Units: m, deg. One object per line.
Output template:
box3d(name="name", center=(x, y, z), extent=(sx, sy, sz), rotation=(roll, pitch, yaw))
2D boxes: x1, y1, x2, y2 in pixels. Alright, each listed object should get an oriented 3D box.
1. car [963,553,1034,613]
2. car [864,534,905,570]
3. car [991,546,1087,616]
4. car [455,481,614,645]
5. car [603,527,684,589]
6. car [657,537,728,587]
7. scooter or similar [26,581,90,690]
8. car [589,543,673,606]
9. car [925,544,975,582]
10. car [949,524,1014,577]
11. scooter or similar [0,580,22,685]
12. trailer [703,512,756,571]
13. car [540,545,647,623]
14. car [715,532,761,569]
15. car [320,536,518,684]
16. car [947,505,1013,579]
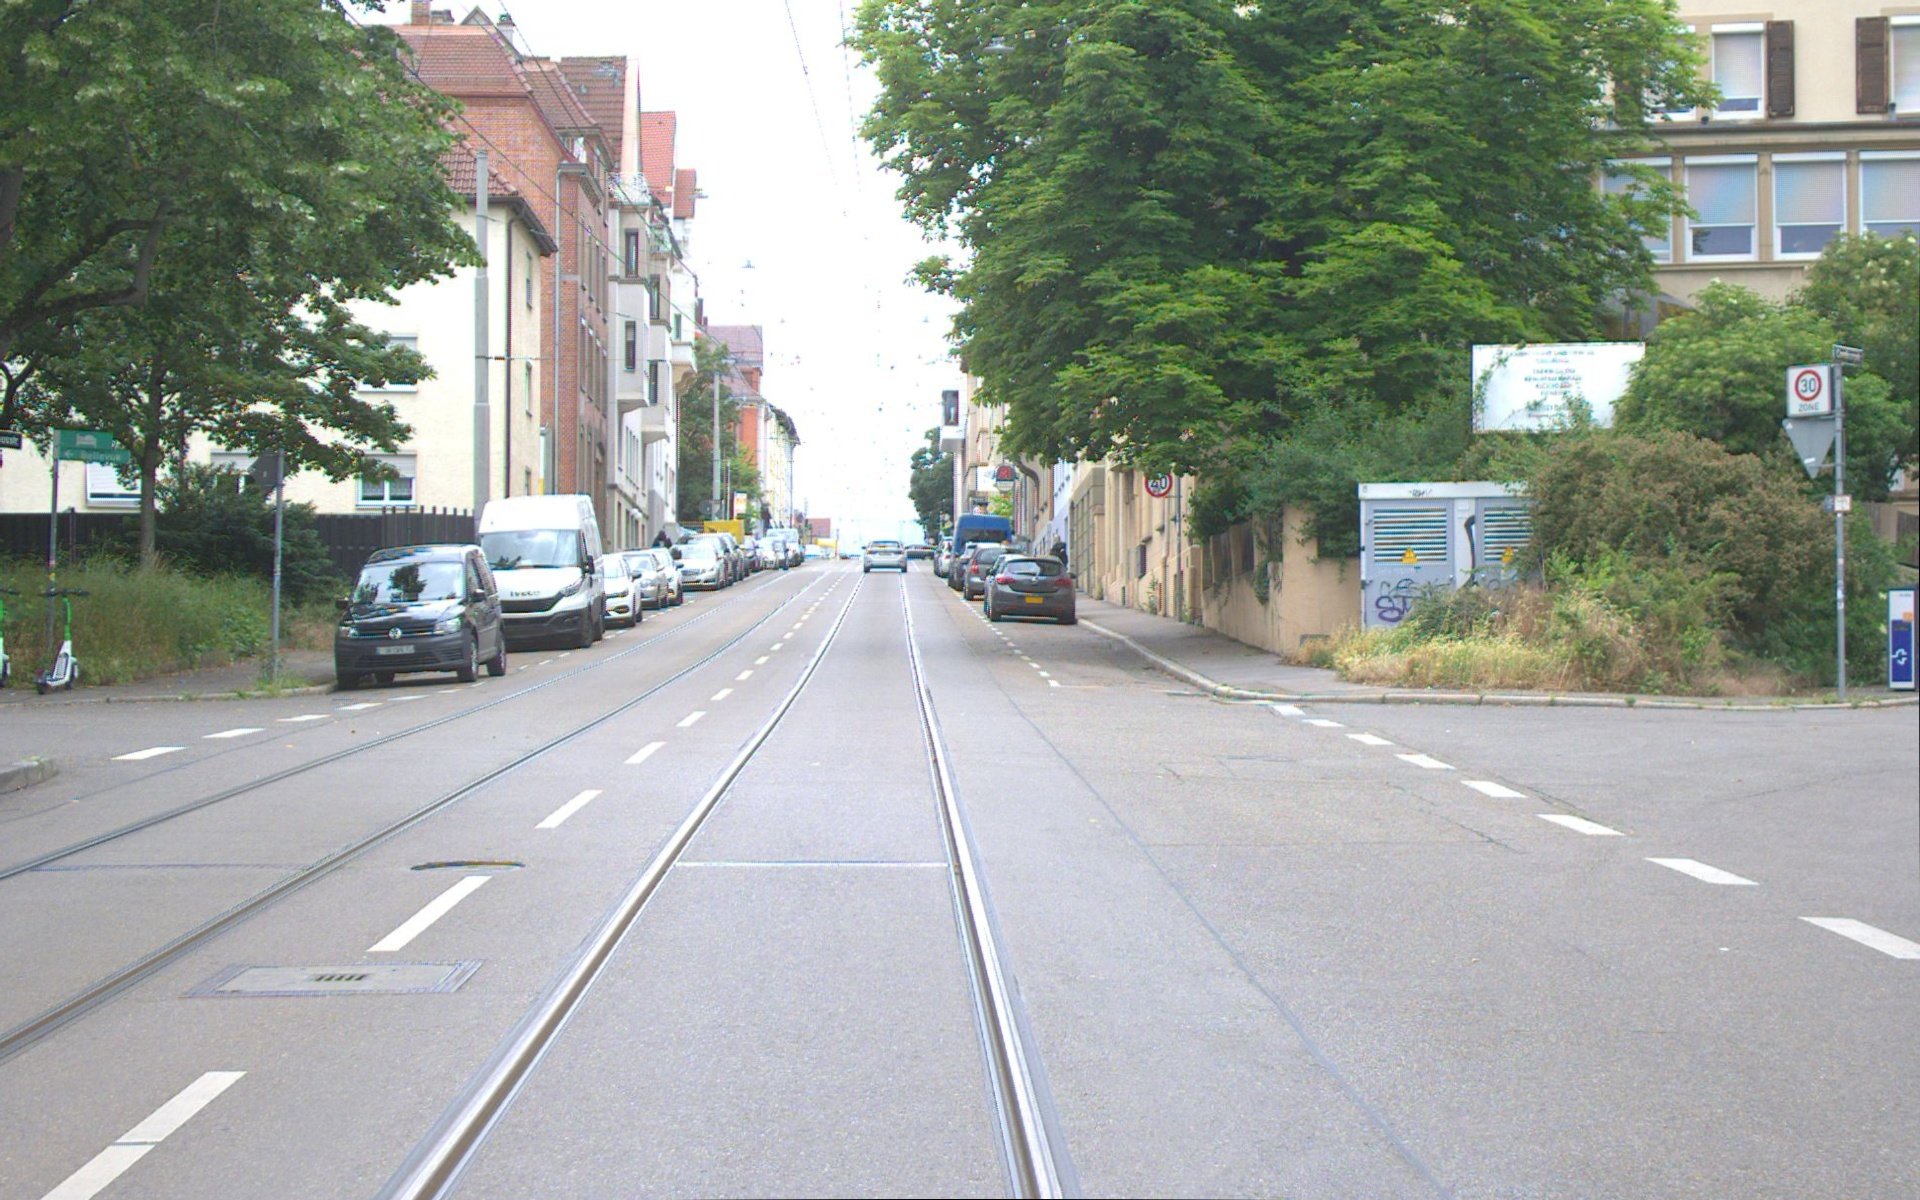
box3d(name="car", center=(1.054, -0.494, 95.553), extent=(1.827, 1.513, 4.028), rotation=(3, 1, -1))
box3d(name="car", center=(-3.212, -2.044, 145.194), extent=(1.672, 1.508, 3.798), rotation=(0, 1, -2))
box3d(name="car", center=(1.663, -0.415, 74.061), extent=(1.839, 1.398, 4.168), rotation=(2, 1, -1))
box3d(name="car", center=(-7.328, -0.688, 59.764), extent=(2.158, 2.598, 6.220), rotation=(-3, 1, -3))
box3d(name="car", center=(-8.032, -1.103, 87.558), extent=(1.827, 1.424, 4.628), rotation=(-3, 2, -3))
box3d(name="car", center=(-8.303, -1.198, 106.932), extent=(1.827, 1.424, 4.839), rotation=(-2, 1, 0))
box3d(name="scooter or similar", center=(-10.233, 0.392, 39.035), extent=(0.311, 1.141, 1.718), rotation=(1, 2, -1))
box3d(name="car", center=(-7.935, -0.629, 83.041), extent=(1.600, 1.363, 3.807), rotation=(-3, 2, 0))
box3d(name="car", center=(-0.413, -1.464, 135.117), extent=(1.750, 1.386, 4.308), rotation=(2, 1, -2))
box3d(name="car", center=(0.640, -1.557, 107.550), extent=(1.779, 1.525, 4.193), rotation=(4, 1, -2))
box3d(name="scooter or similar", center=(-10.979, 0.381, 38.882), extent=(0.311, 1.141, 1.718), rotation=(1, 2, -1))
box3d(name="trailer", center=(-8.760, -2.241, 130.906), extent=(1.748, 2.148, 4.071), rotation=(-2, 1, 0))
box3d(name="car", center=(-7.386, -0.350, 69.567), extent=(1.719, 1.398, 4.314), rotation=(-3, 1, -1))
box3d(name="car", center=(-9.220, -2.063, 142.645), extent=(1.697, 1.463, 3.023), rotation=(-2, 1, 0))
box3d(name="car", center=(-7.087, 0.087, 45.472), extent=(1.762, 1.769, 4.668), rotation=(-3, 1, 0))
box3d(name="car", center=(0.633, -1.891, 113.133), extent=(1.993, 2.368, 5.056), rotation=(1, 1, -1))
